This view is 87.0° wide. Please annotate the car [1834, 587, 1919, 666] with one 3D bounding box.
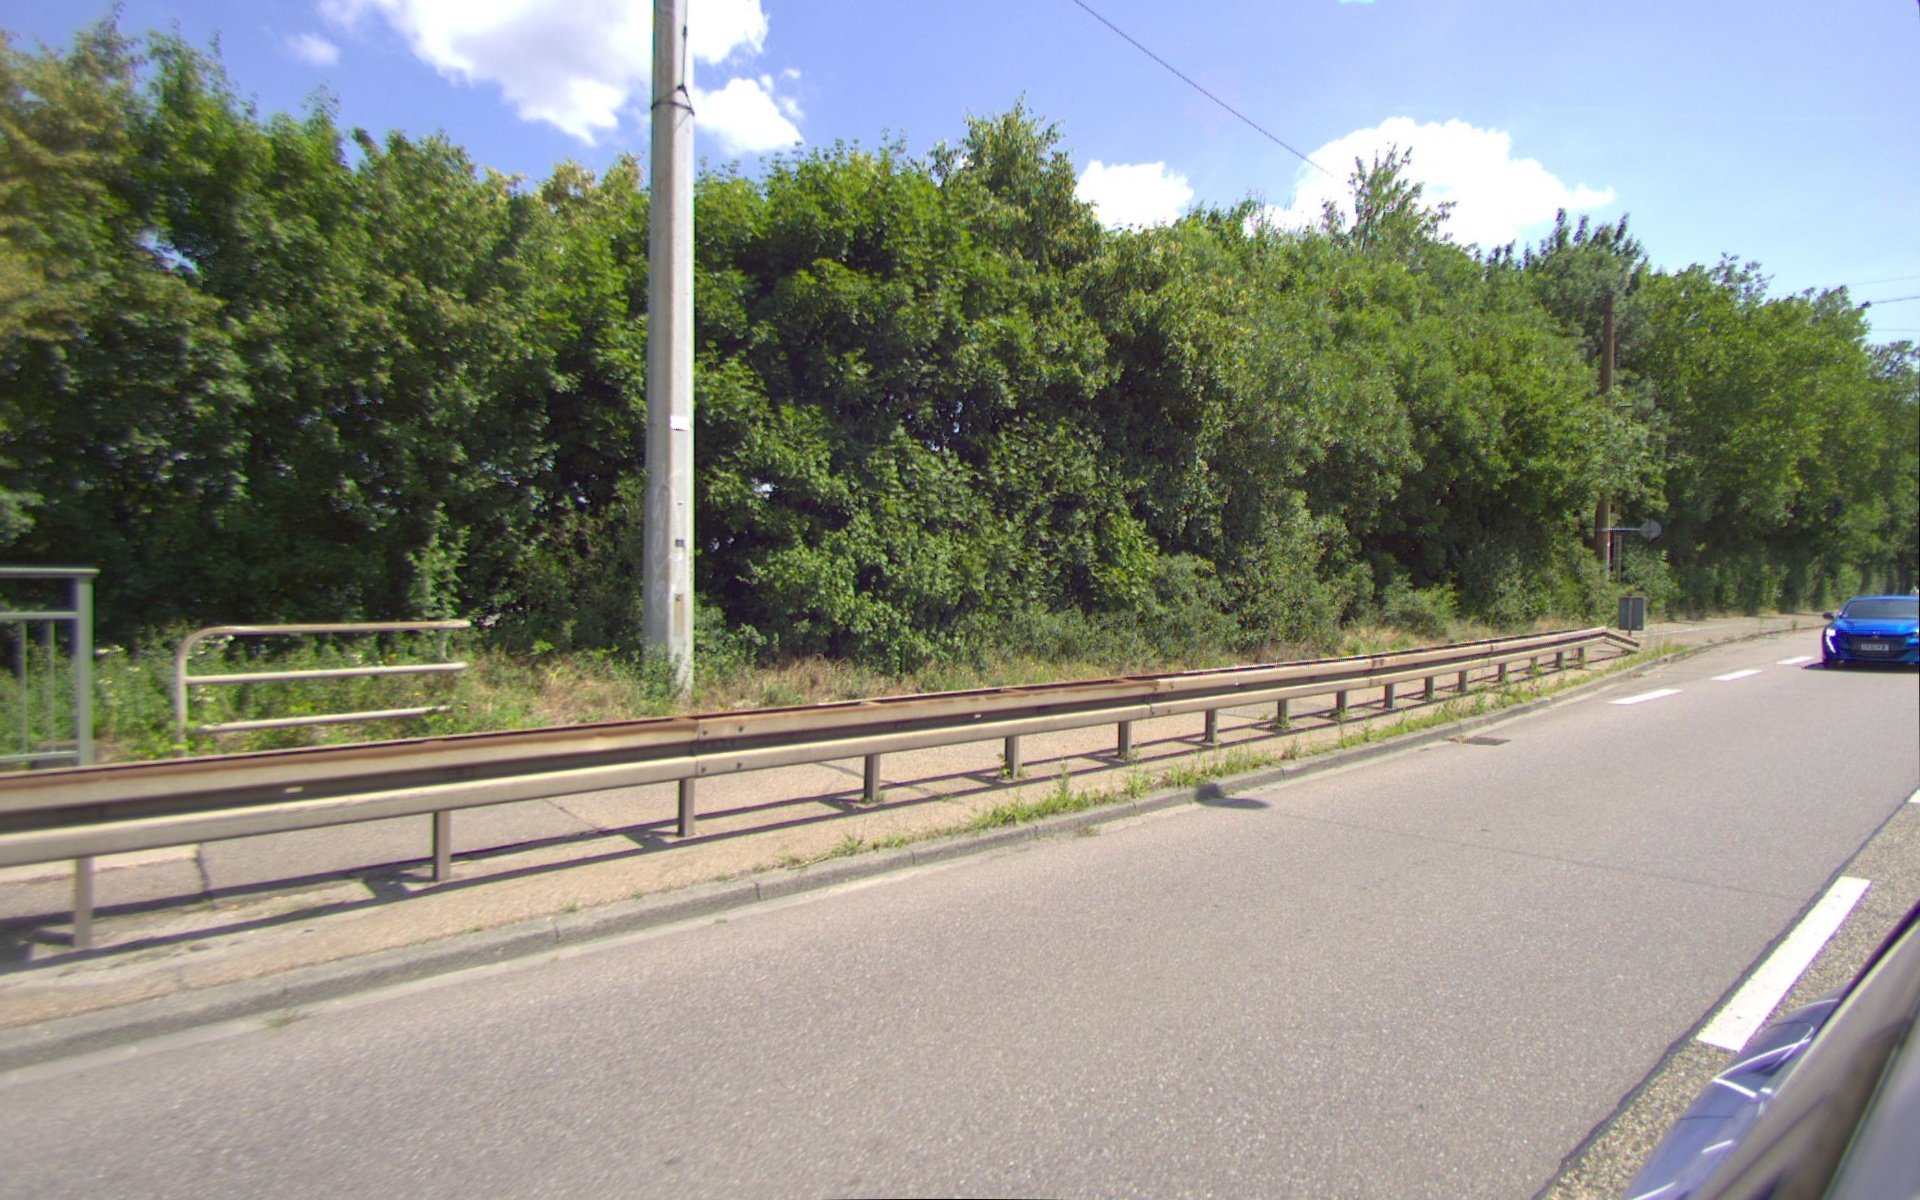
[{"bbox_3d":[18.902,0.469,20.290,3.680,1.423,1.658,-1,1,-42],"label":"car"}]
